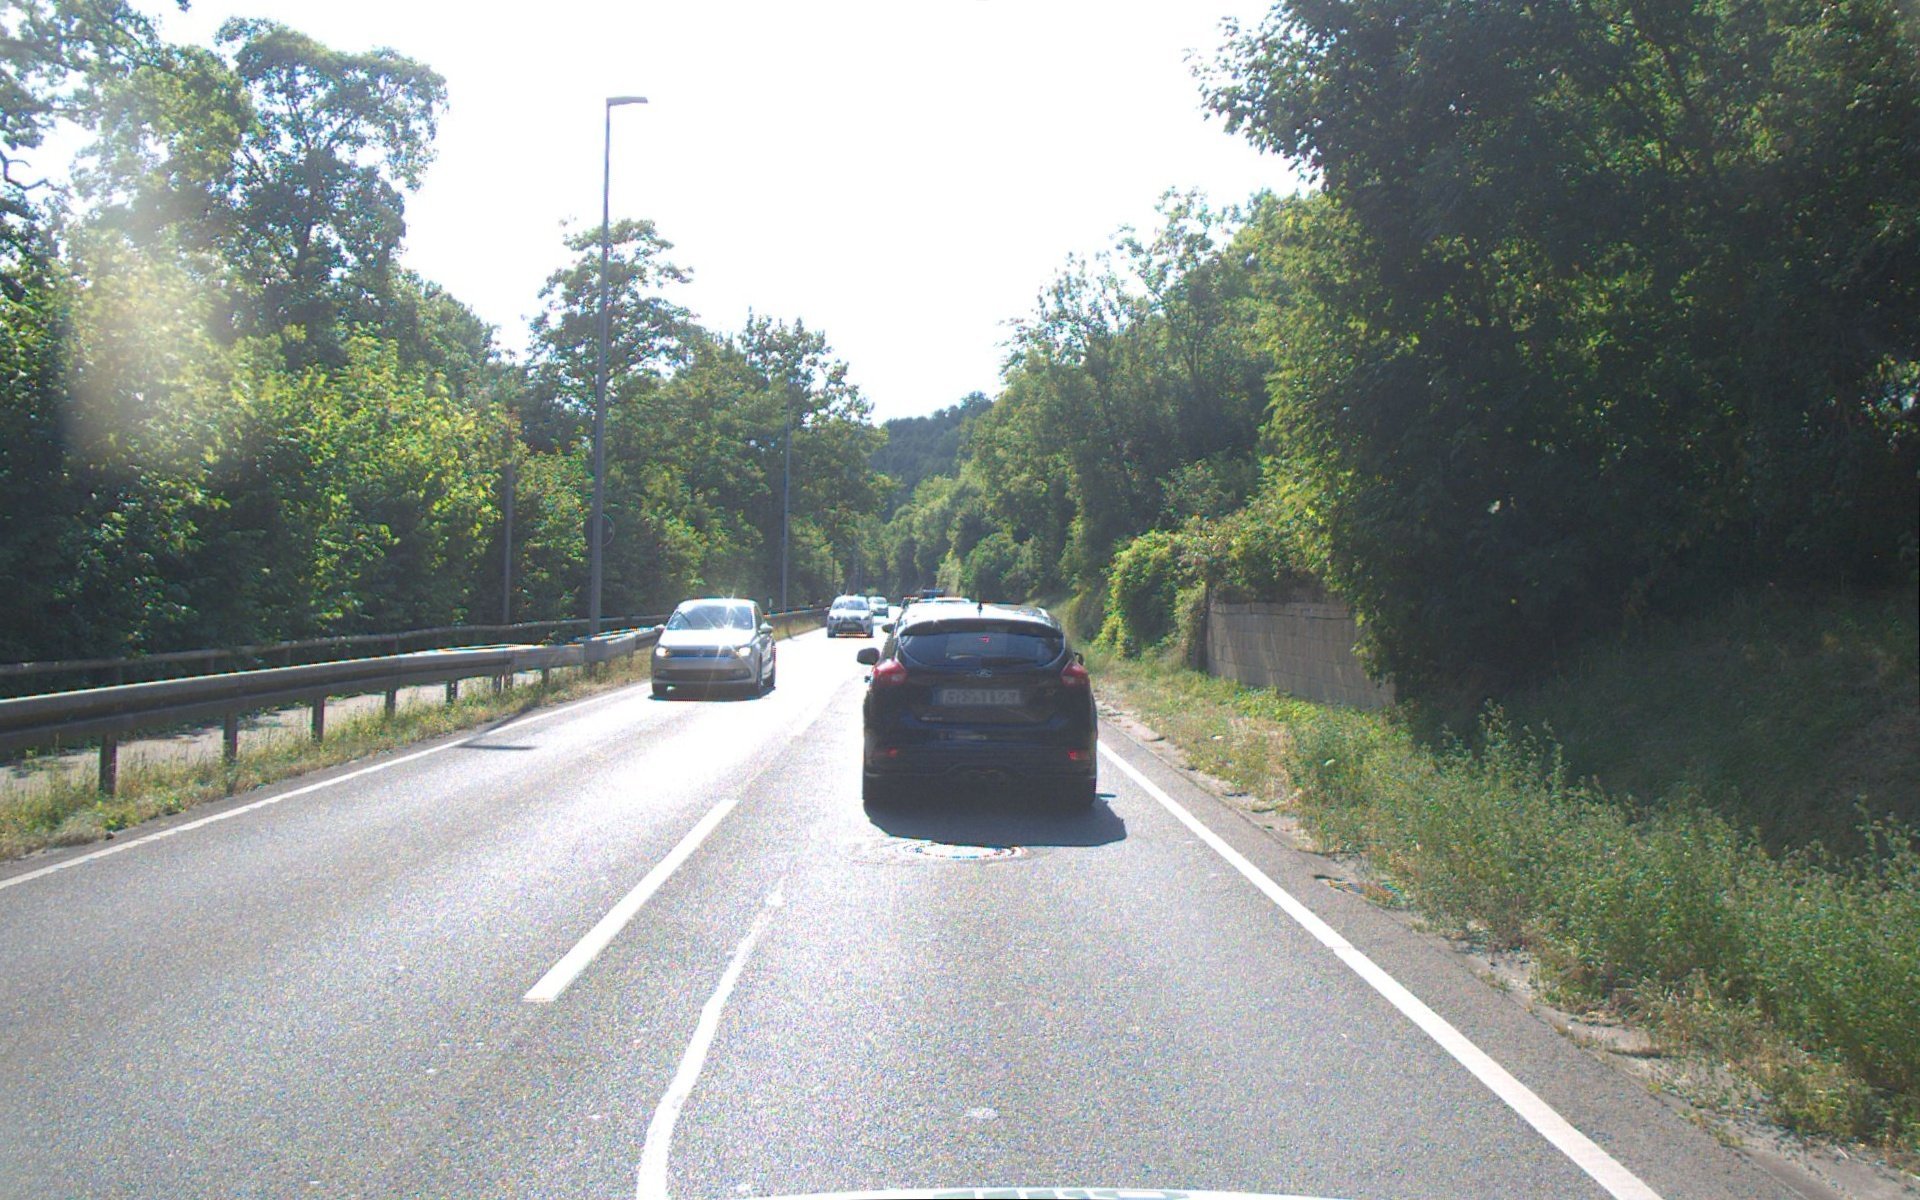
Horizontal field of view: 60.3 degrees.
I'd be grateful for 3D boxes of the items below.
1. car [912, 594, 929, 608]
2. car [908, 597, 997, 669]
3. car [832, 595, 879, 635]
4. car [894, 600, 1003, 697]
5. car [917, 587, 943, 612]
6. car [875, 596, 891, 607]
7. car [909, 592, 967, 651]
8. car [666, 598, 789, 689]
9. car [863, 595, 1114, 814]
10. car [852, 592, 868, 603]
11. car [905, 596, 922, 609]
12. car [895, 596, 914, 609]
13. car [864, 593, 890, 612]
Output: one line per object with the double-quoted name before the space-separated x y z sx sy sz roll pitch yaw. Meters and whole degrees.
"car" -4.204 0.116 178.553 1.782 1.545 3.999 0 0 -1
"car" -0.175 0.661 34.826 1.768 1.416 3.999 0 0 -1
"car" -4.058 0.559 64.415 1.647 1.489 4.196 1 0 -1
"car" -0.149 0.727 26.883 1.627 1.443 4.000 0 0 1
"car" -2.271 -0.051 124.831 1.826 1.812 3.998 0 0 -3
"car" -10.847 0.240 233.425 1.956 1.545 3.993 0 0 -8
"car" -0.621 0.590 47.454 1.597 1.624 3.999 0 0 -1
"car" -3.847 0.678 27.910 1.590 1.401 4.046 0 0 -1
"car" 0.174 0.724 13.368 1.704 1.482 3.999 1 0 -1
"car" -15.283 -0.390 252.903 1.958 1.545 3.988 0 0 -12
"car" -5.427 0.307 192.521 1.953 1.545 3.999 0 0 -1
"car" -6.819 0.295 202.893 1.956 1.545 3.993 0 0 -8
"car" -6.147 0.175 122.700 1.738 1.412 3.999 0 0 -1
